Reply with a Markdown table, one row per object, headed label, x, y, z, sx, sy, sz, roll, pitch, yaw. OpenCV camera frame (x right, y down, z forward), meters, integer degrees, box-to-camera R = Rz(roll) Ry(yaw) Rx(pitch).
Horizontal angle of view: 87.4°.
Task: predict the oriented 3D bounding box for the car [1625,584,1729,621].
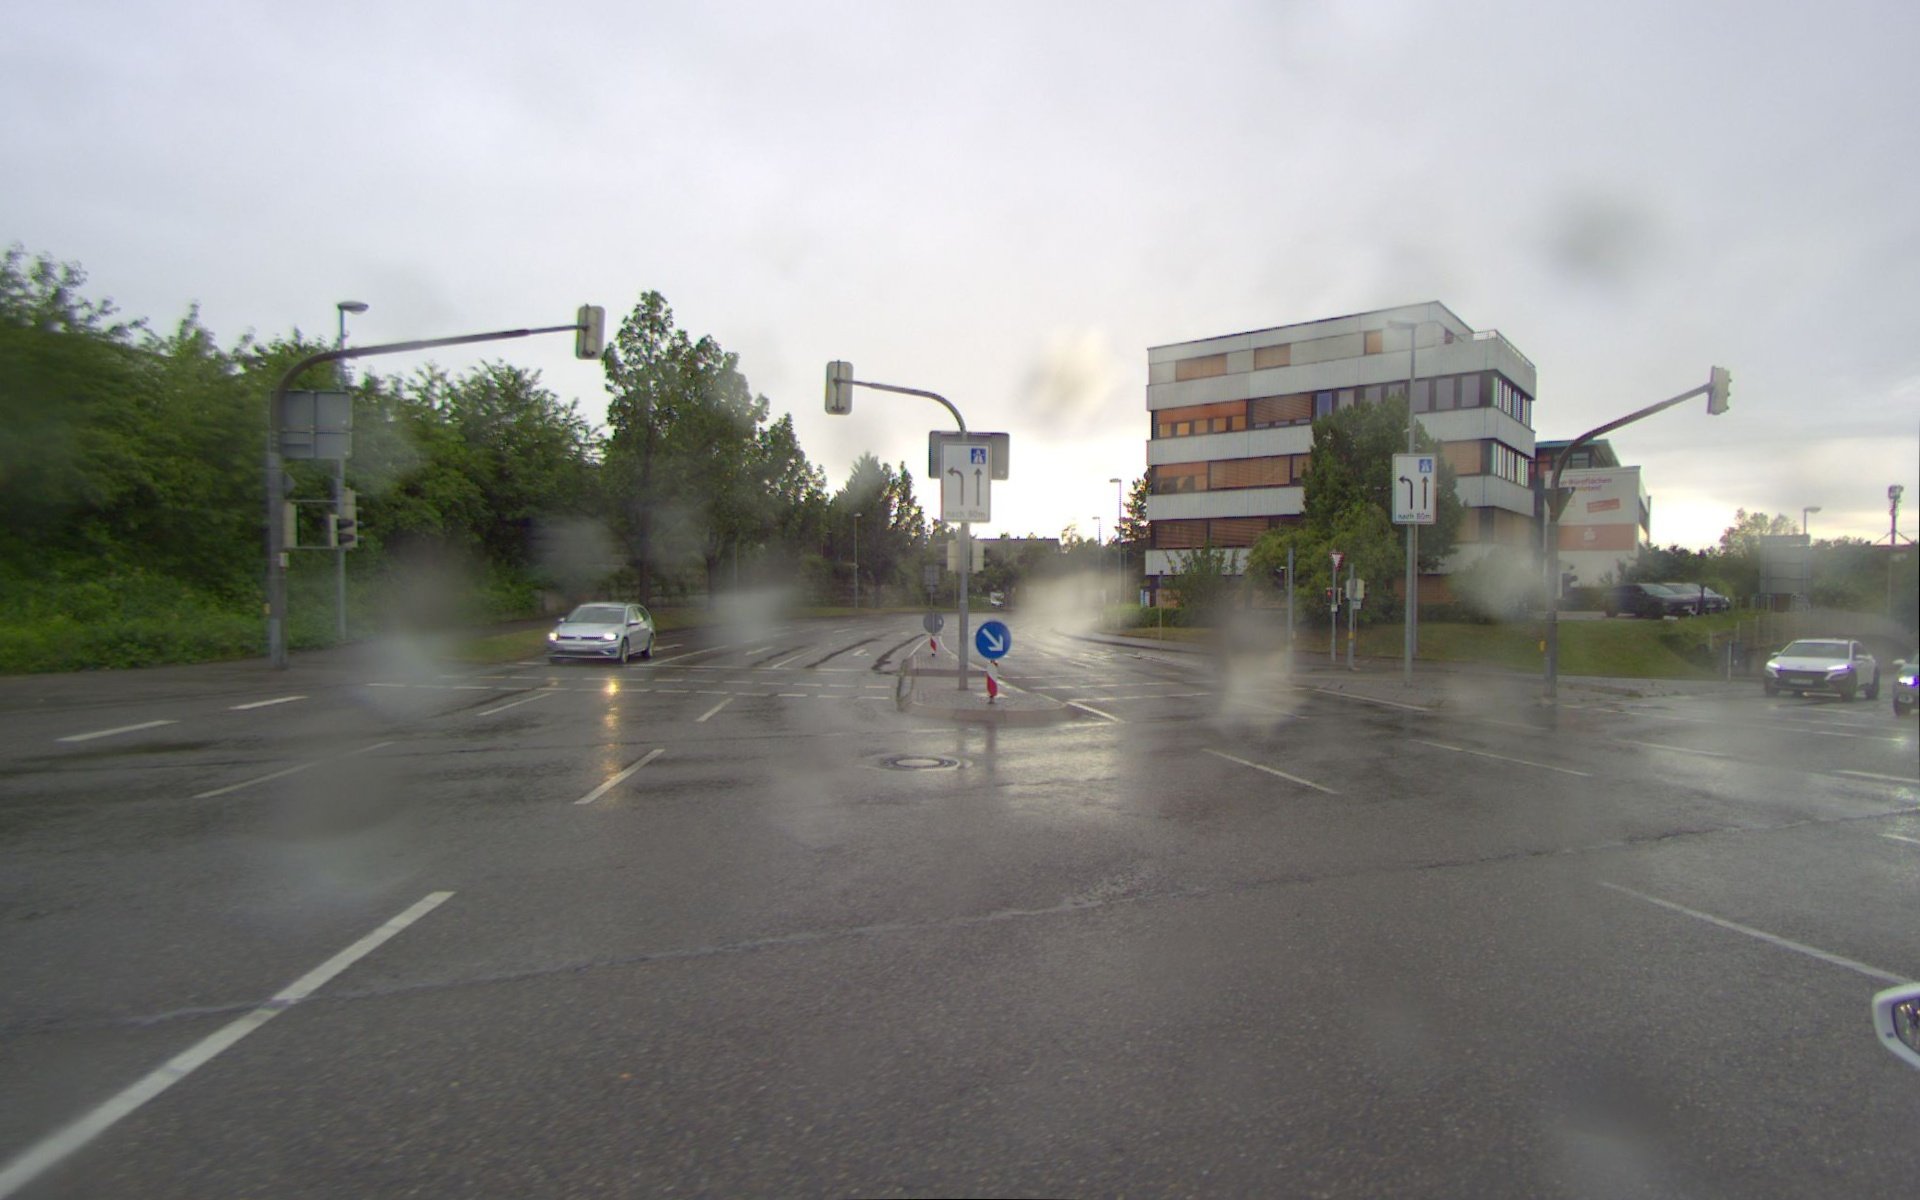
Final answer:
| label | x | y | z | sx | sy | sz | roll | pitch | yaw |
| --- | --- | --- | --- | --- | --- | --- | --- | --- | --- |
| car | 35.007 | 0.109 | 49.160 | 1.867 | 1.607 | 3.995 | 3 | 0 | -7 |

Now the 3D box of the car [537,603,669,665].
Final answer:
| label | x | y | z | sx | sy | sz | roll | pitch | yaw |
| --- | --- | --- | --- | --- | --- | --- | --- | --- | --- |
| car | -8.859 | 0.804 | 25.320 | 1.728 | 1.381 | 4.531 | 2 | 0 | -1 |

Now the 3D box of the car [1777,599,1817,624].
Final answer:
| label | x | y | z | sx | sy | sz | roll | pitch | yaw |
| --- | --- | --- | --- | --- | --- | --- | --- | --- | --- |
| car | 55.528 | 0.769 | 66.613 | 1.807 | 1.461 | 3.977 | 3 | 0 | 43 |

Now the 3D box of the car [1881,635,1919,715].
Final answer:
| label | x | y | z | sx | sy | sz | roll | pitch | yaw |
| --- | --- | --- | --- | --- | --- | --- | --- | --- | --- |
| car | 20.168 | 1.522 | 20.305 | 3.965 | 1.514 | 1.648 | 2 | -1 | -38 |

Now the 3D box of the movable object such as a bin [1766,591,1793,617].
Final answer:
| label | x | y | z | sx | sy | sz | roll | pitch | yaw |
| --- | --- | --- | --- | --- | --- | --- | --- | --- | --- |
| movable object such as a bin | 47.930 | 0.229 | 58.711 | 1.072 | 1.456 | 1.438 | 3 | 0 | 43 |

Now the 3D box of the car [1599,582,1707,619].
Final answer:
| label | x | y | z | sx | sy | sz | roll | pitch | yaw |
| --- | --- | --- | --- | --- | --- | --- | --- | --- | --- |
| car | 32.788 | 0.011 | 47.674 | 1.869 | 1.607 | 3.992 | 3 | 0 | -11 |

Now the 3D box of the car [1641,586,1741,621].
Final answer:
| label | x | y | z | sx | sy | sz | roll | pitch | yaw |
| --- | --- | --- | --- | --- | --- | --- | --- | --- | --- |
| car | 37.181 | 0.183 | 51.219 | 1.867 | 1.607 | 3.995 | 3 | 0 | -7 |

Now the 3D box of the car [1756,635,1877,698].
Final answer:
| label | x | y | z | sx | sy | sz | roll | pitch | yaw |
| --- | --- | --- | --- | --- | --- | --- | --- | --- | --- |
| car | 23.174 | 1.757 | 27.132 | 3.965 | 1.514 | 1.707 | 2 | -1 | -38 |

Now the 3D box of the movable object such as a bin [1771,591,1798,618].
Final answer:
| label | x | y | z | sx | sy | sz | roll | pitch | yaw |
| --- | --- | --- | --- | --- | --- | --- | --- | --- | --- |
| movable object such as a bin | 48.966 | 0.264 | 59.656 | 1.072 | 1.456 | 1.438 | 3 | 0 | 43 |
